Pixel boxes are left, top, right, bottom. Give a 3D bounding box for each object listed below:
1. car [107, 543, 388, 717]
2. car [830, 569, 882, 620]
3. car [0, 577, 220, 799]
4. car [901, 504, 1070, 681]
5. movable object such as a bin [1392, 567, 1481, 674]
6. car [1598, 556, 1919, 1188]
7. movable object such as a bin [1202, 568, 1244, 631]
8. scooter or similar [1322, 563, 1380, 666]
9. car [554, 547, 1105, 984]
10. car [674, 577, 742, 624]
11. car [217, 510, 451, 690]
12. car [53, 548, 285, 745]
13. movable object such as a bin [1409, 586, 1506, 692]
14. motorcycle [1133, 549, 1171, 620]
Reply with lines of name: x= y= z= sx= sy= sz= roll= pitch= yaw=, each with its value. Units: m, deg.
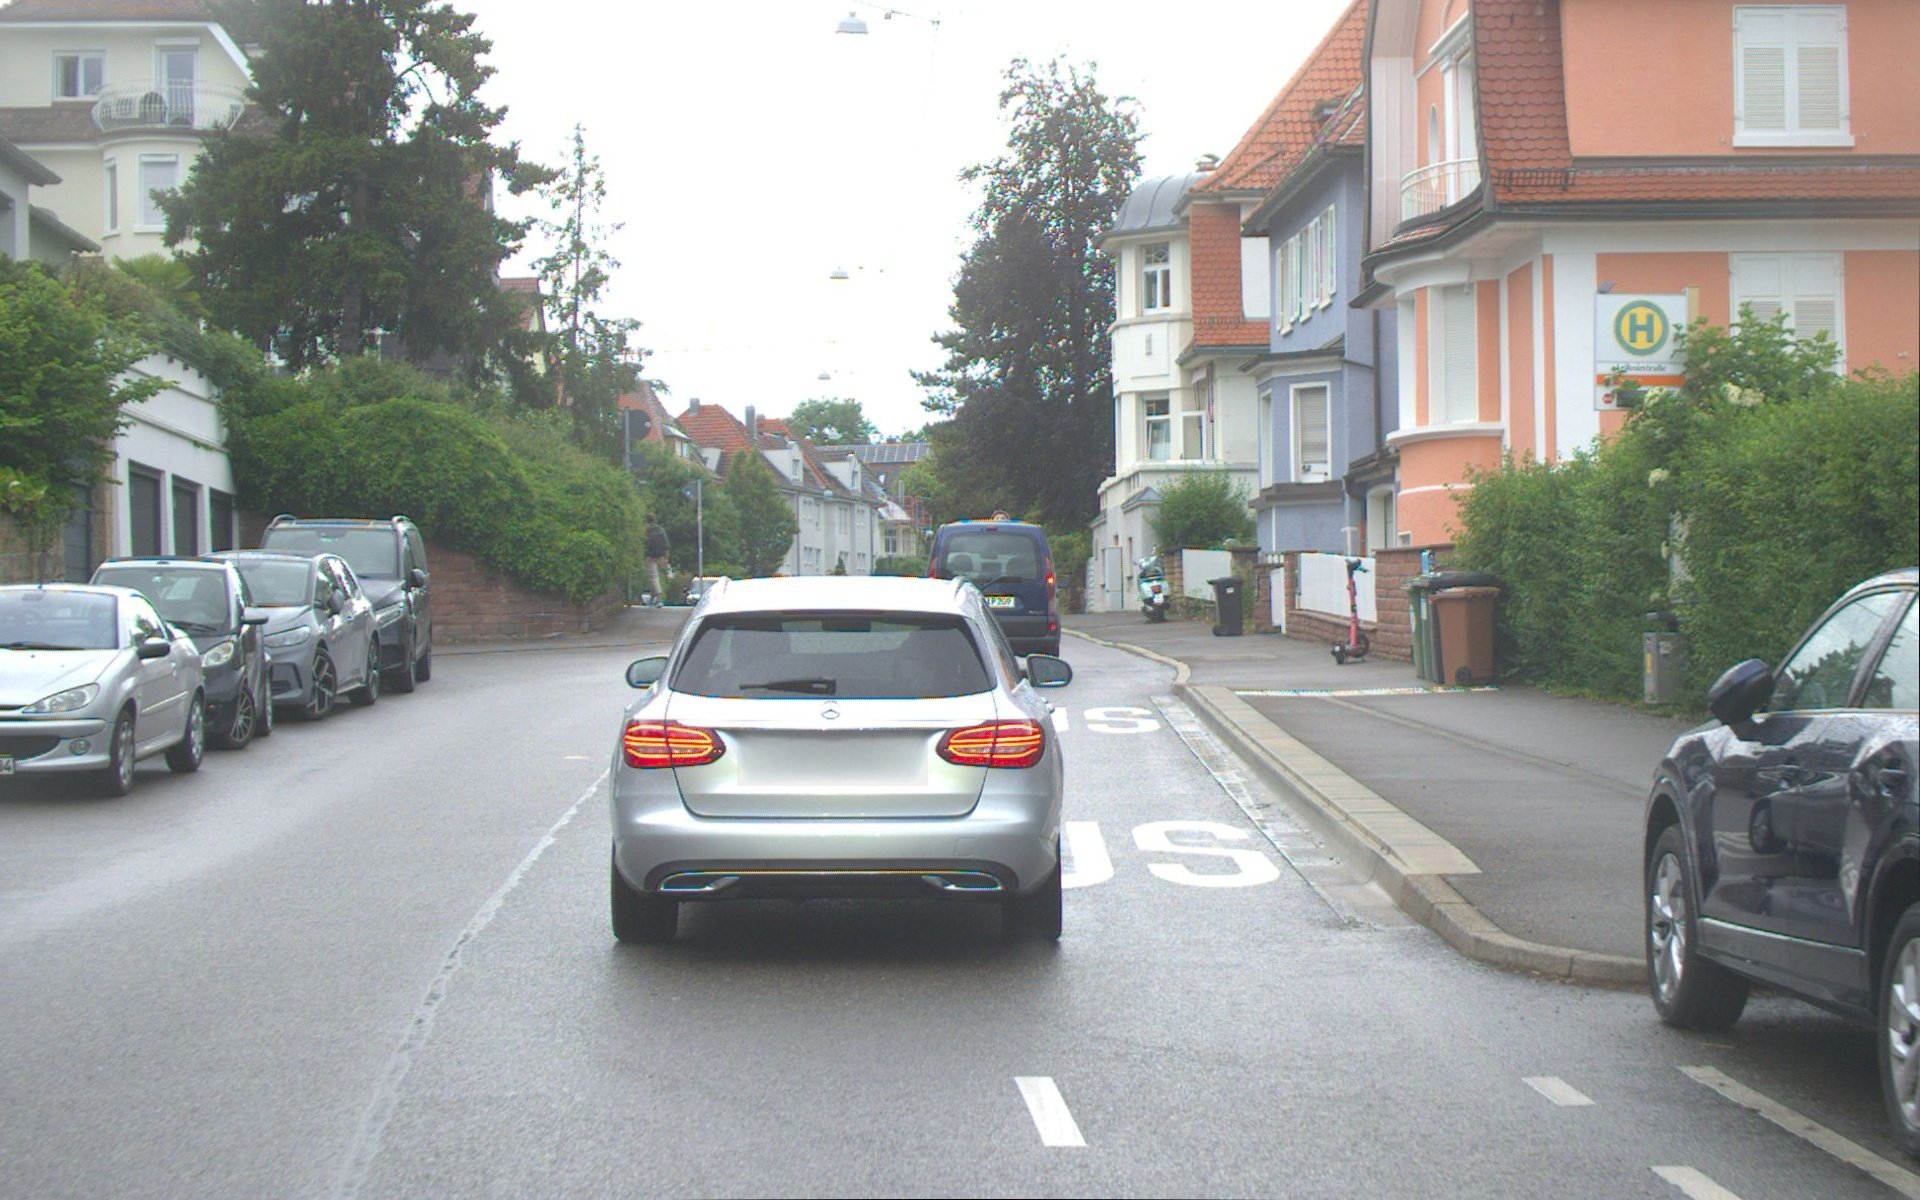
car: x=-6.723 y=0.232 z=32.871 sx=1.898 sy=1.510 sz=4.343 roll=1 pitch=1 yaw=-2
car: x=-5.282 y=-0.300 z=175.597 sx=2.466 sy=2.391 sz=4.000 roll=-3 pitch=1 yaw=-1
car: x=-6.215 y=0.539 z=23.472 sx=1.609 sy=1.333 sz=3.841 roll=0 pitch=1 yaw=-2
car: x=0.313 y=-0.141 z=41.411 sx=1.824 sy=1.876 sz=4.095 roll=-4 pitch=2 yaw=1
movable object such as a bin: x=4.740 y=0.200 z=34.232 sx=0.711 sy=1.026 sz=0.757 roll=-2 pitch=1 yaw=-3
car: x=3.157 y=0.644 z=9.857 sx=1.754 sy=1.525 sz=4.206 roll=0 pitch=1 yaw=-2
movable object such as a bin: x=4.113 y=-0.012 z=53.797 sx=0.549 sy=0.932 sz=0.634 roll=-3 pitch=1 yaw=-2
scooter or similar: x=4.757 y=0.170 z=41.909 sx=0.693 sy=1.220 sz=1.299 roll=0 pitch=1 yaw=6
car: x=-0.496 y=0.571 z=14.643 sx=1.982 sy=1.548 sz=4.298 roll=1 pitch=1 yaw=-1
car: x=-8.232 y=-0.013 z=112.572 sx=2.117 sy=1.466 sz=4.017 roll=0 pitch=1 yaw=-3
car: x=-6.954 y=-0.048 z=38.733 sx=2.128 sy=1.853 sz=5.595 roll=1 pitch=1 yaw=-6
car: x=-6.490 y=0.339 z=28.448 sx=1.496 sy=1.518 sz=3.160 roll=0 pitch=1 yaw=-6
movable object such as a bin: x=4.669 y=0.363 z=32.281 sx=0.569 sy=0.965 sz=0.670 roll=1 pitch=1 yaw=-34
motorcycle: x=3.538 y=-0.295 z=63.518 sx=0.582 sy=1.257 sz=2.331 roll=-2 pitch=1 yaw=1
